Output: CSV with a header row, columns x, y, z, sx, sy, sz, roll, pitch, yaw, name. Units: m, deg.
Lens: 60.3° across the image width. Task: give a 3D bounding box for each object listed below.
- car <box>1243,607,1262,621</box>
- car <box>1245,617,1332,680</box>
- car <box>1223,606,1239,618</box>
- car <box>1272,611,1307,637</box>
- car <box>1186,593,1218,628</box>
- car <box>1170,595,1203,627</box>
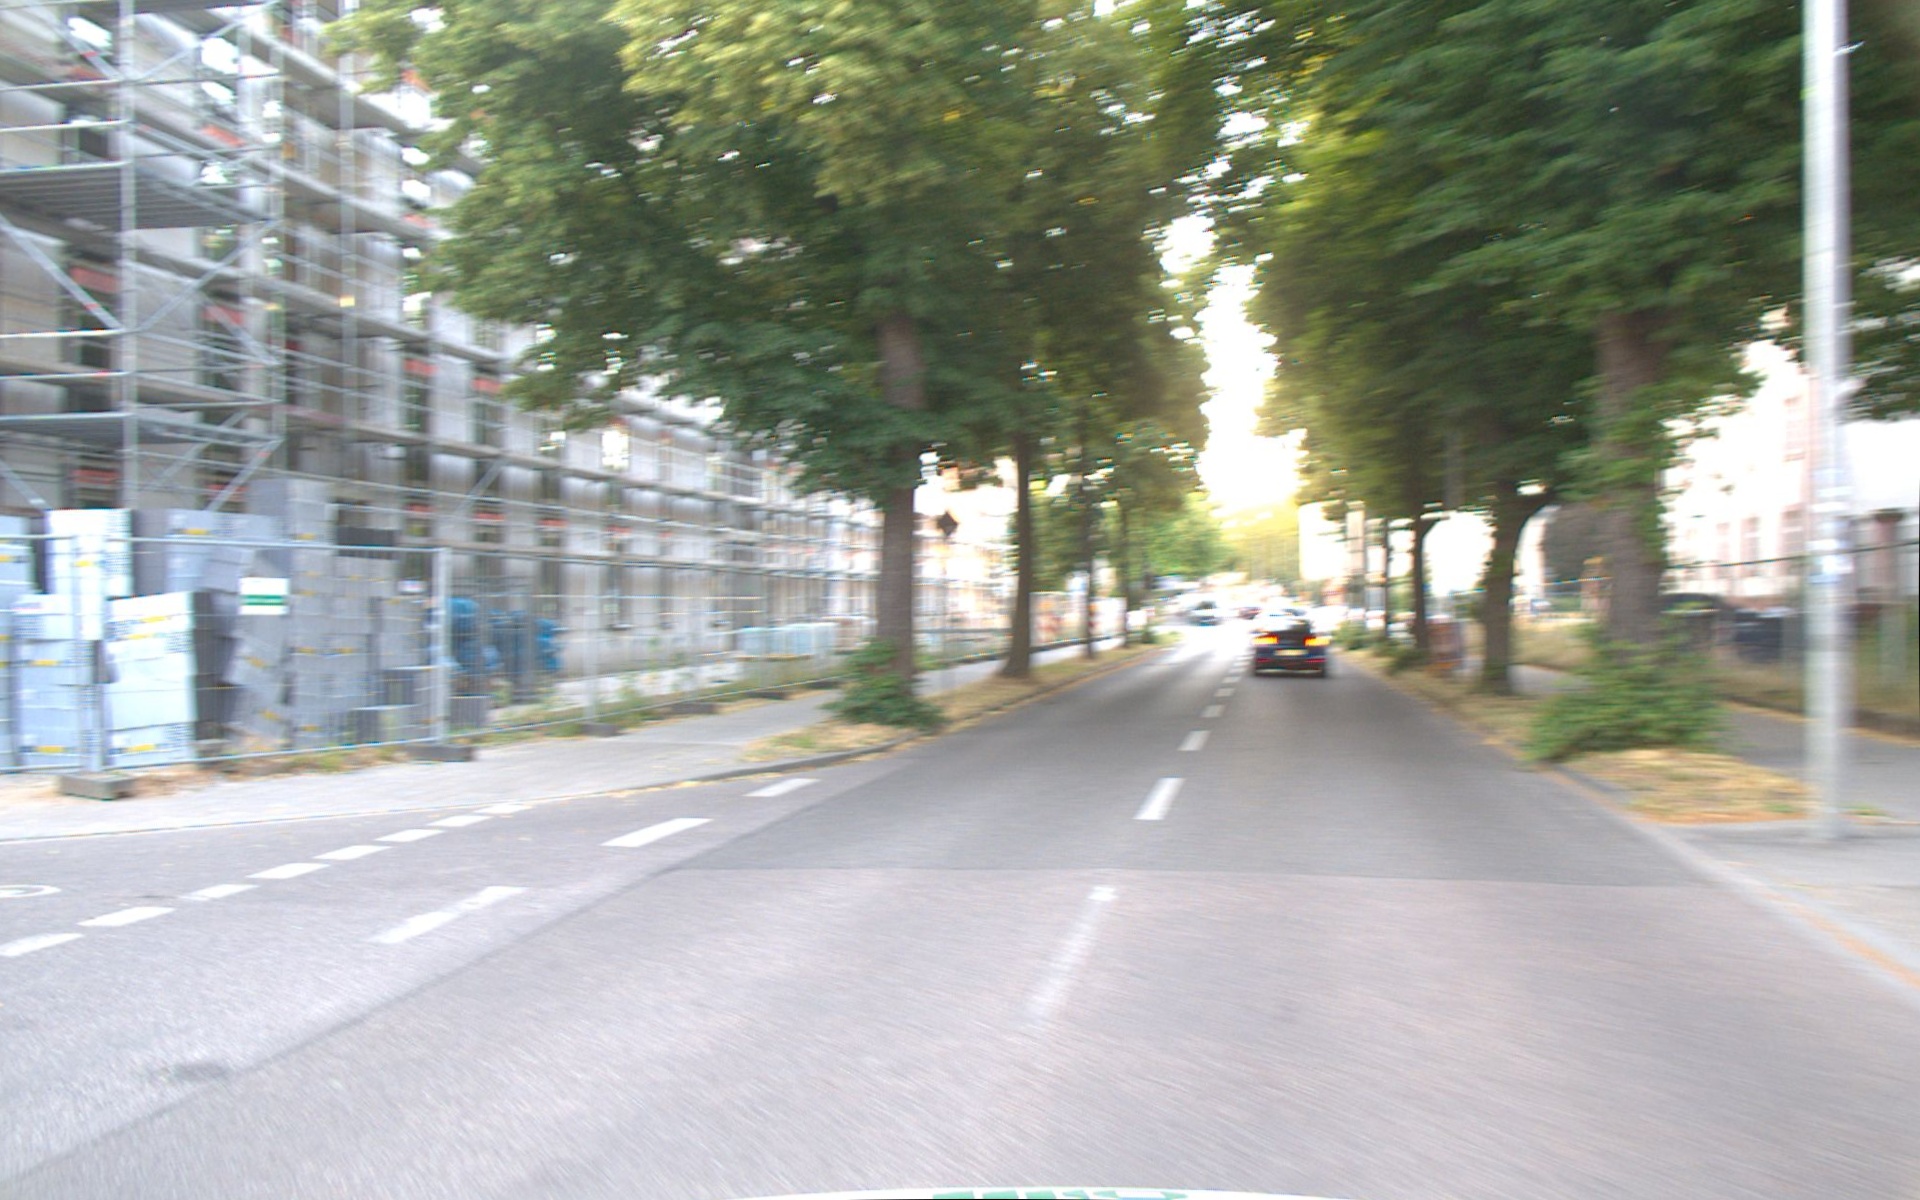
x,y,z,sx,sy,sz,roll,pitch,yaw,name
29.856,1.456,168.873,1.905,1.350,4.003,1,0,10,car
7.798,1.116,39.493,1.905,1.350,4.003,1,0,10,car
33.041,1.460,201.787,1.905,1.350,4.003,1,0,10,car
19.164,1.376,96.044,1.905,1.350,4.003,1,0,12,car
19.604,0.817,133.869,2.439,2.744,5.835,-1,0,10,car
16.782,0.803,122.642,2.286,2.236,5.312,-1,0,7,car
